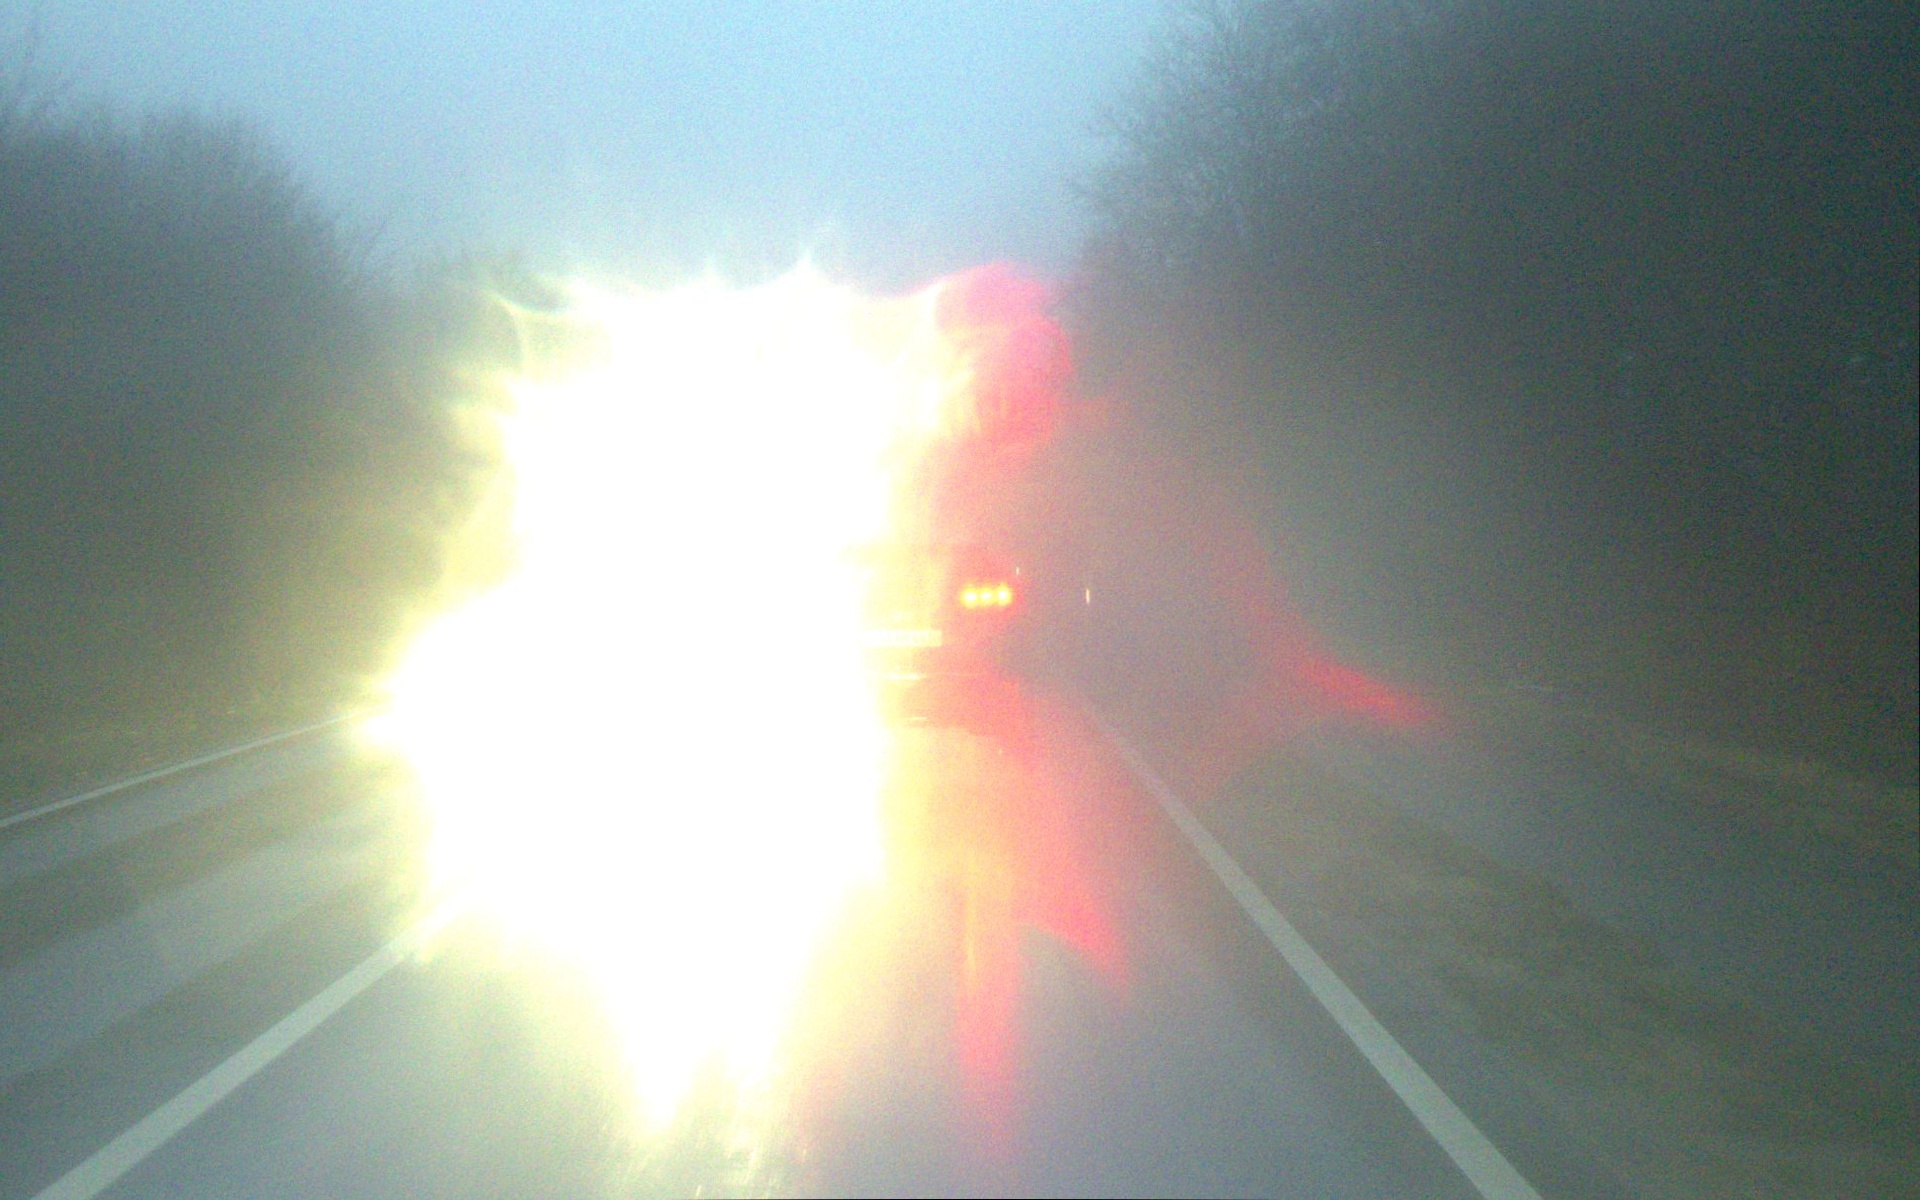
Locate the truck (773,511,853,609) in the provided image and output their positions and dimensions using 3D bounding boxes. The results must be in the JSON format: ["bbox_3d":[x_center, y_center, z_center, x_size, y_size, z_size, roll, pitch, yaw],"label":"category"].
[{"bbox_3d":[-4.288,-1.189,101.456,2.103,2.762,6.872,1,1,-1],"label":"truck"}]

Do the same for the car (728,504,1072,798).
[{"bbox_3d":[-0.417,0.300,24.581,2.198,1.871,4.827,1,1,-1],"label":"car"}]

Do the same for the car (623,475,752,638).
[{"bbox_3d":[-4.902,-0.786,62.617,2.073,2.801,6.654,0,1,-2],"label":"car"}]
